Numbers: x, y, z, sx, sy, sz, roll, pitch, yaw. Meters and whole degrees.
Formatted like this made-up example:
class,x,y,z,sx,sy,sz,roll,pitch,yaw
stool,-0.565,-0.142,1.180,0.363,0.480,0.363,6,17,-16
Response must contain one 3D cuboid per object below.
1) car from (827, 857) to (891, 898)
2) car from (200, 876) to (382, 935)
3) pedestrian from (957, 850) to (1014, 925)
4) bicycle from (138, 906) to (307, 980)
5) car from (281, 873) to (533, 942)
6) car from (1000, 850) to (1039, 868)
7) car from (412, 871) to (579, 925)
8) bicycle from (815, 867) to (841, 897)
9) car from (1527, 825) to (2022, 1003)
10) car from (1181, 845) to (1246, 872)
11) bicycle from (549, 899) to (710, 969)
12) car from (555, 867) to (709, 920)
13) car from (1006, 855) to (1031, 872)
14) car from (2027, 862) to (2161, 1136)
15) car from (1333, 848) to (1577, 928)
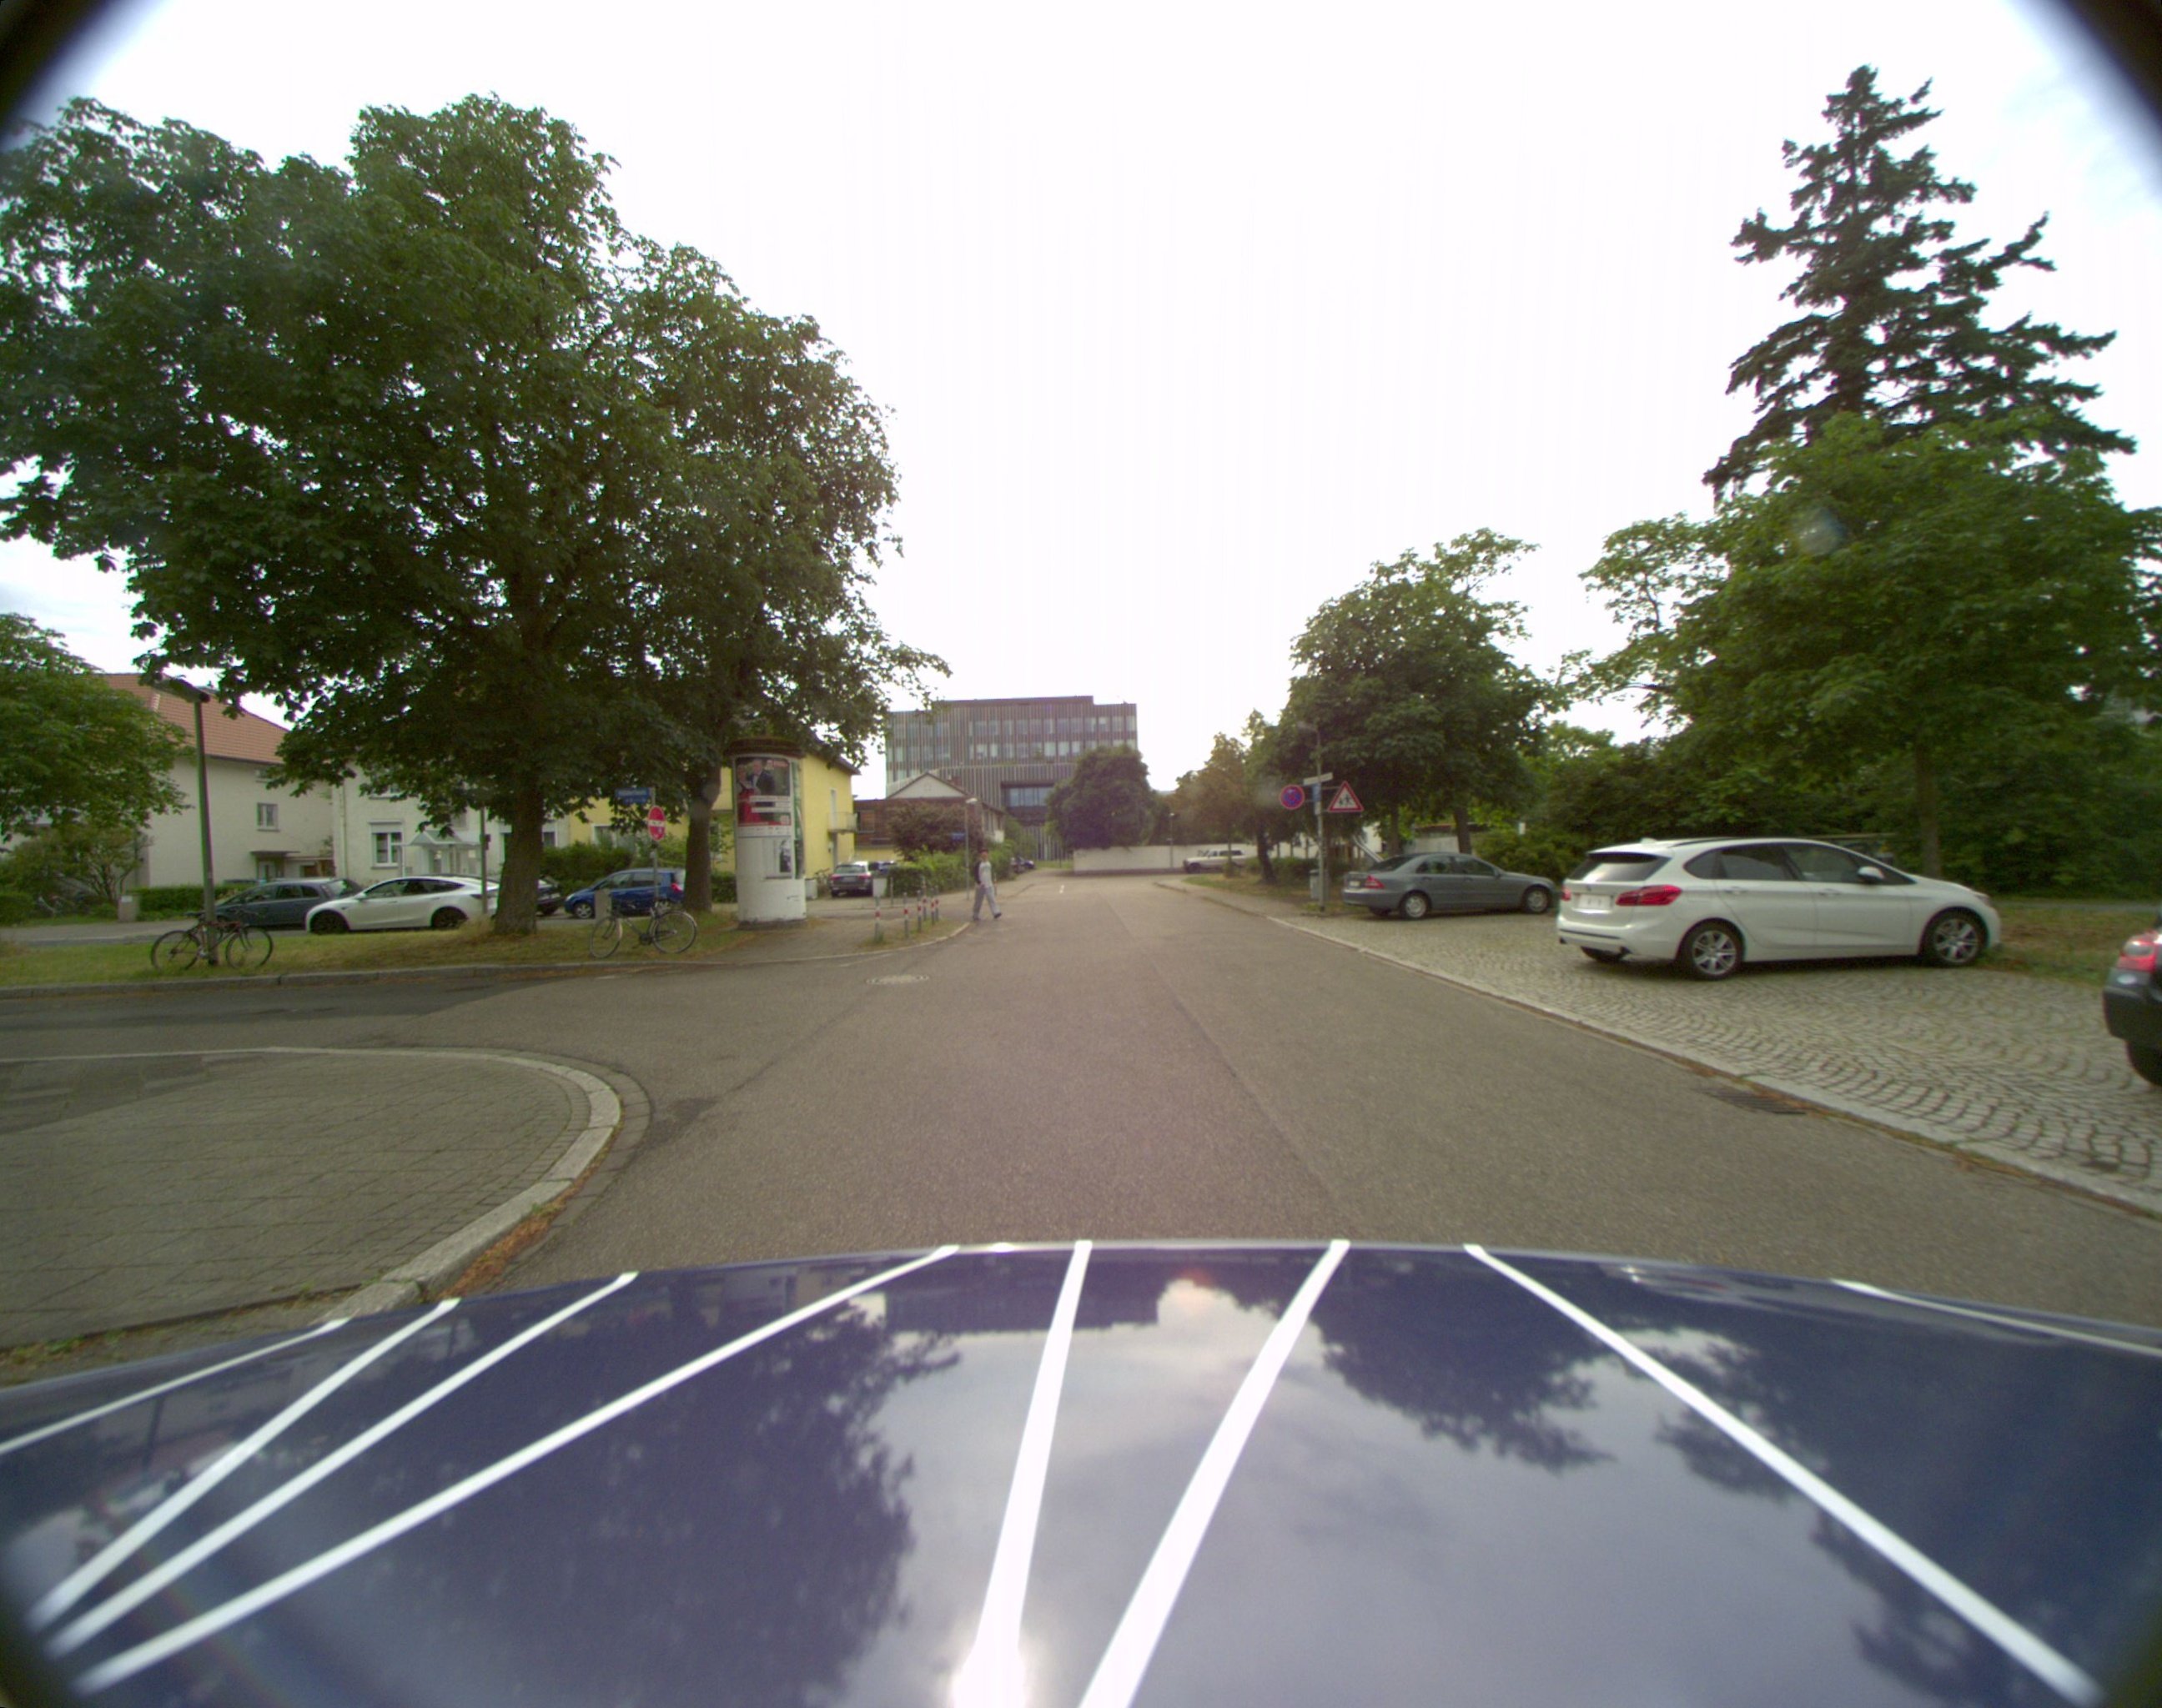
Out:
class,x,y,z,sx,sy,sz,roll,pitch,yaw
car,-9.472,0.948,32.691,1.842,1.601,3.998,-2,0,-5
car,-26.203,1.672,25.321,3.884,1.593,1.718,-2,3,-7
pedestrian,-2.424,0.819,19.260,0.880,1.825,1.216,-2,1,-40
bicycle,-14.090,1.448,12.512,1.884,1.060,0.667,-2,1,-4
car,-18.132,1.395,20.670,4.882,1.557,1.902,-2,0,-6
car,-6.726,0.534,83.429,3.997,1.828,1.999,-2,3,1
car,-19.935,1.476,26.024,4.166,1.492,1.718,-2,3,-6
bicycle,-10.968,1.189,33.027,0.483,1.187,2.175,-2,0,-4
car,7.989,0.619,9.069,4.146,1.552,1.884,-5,2,0
car,10.045,0.333,57.779,4.492,1.849,1.998,-2,3,-4
bicycle,-7.374,1.298,12.482,2.182,0.980,0.511,-2,3,-8
car,-15.412,1.331,26.258,4.208,1.557,1.704,-2,2,-2
car,-5.951,0.890,72.848,1.999,1.390,3.998,-2,3,0
car,8.132,0.716,3.693,4.555,1.455,1.841,-3,1,3
car,8.107,0.693,16.690,4.558,1.446,1.679,-3,1,-5
